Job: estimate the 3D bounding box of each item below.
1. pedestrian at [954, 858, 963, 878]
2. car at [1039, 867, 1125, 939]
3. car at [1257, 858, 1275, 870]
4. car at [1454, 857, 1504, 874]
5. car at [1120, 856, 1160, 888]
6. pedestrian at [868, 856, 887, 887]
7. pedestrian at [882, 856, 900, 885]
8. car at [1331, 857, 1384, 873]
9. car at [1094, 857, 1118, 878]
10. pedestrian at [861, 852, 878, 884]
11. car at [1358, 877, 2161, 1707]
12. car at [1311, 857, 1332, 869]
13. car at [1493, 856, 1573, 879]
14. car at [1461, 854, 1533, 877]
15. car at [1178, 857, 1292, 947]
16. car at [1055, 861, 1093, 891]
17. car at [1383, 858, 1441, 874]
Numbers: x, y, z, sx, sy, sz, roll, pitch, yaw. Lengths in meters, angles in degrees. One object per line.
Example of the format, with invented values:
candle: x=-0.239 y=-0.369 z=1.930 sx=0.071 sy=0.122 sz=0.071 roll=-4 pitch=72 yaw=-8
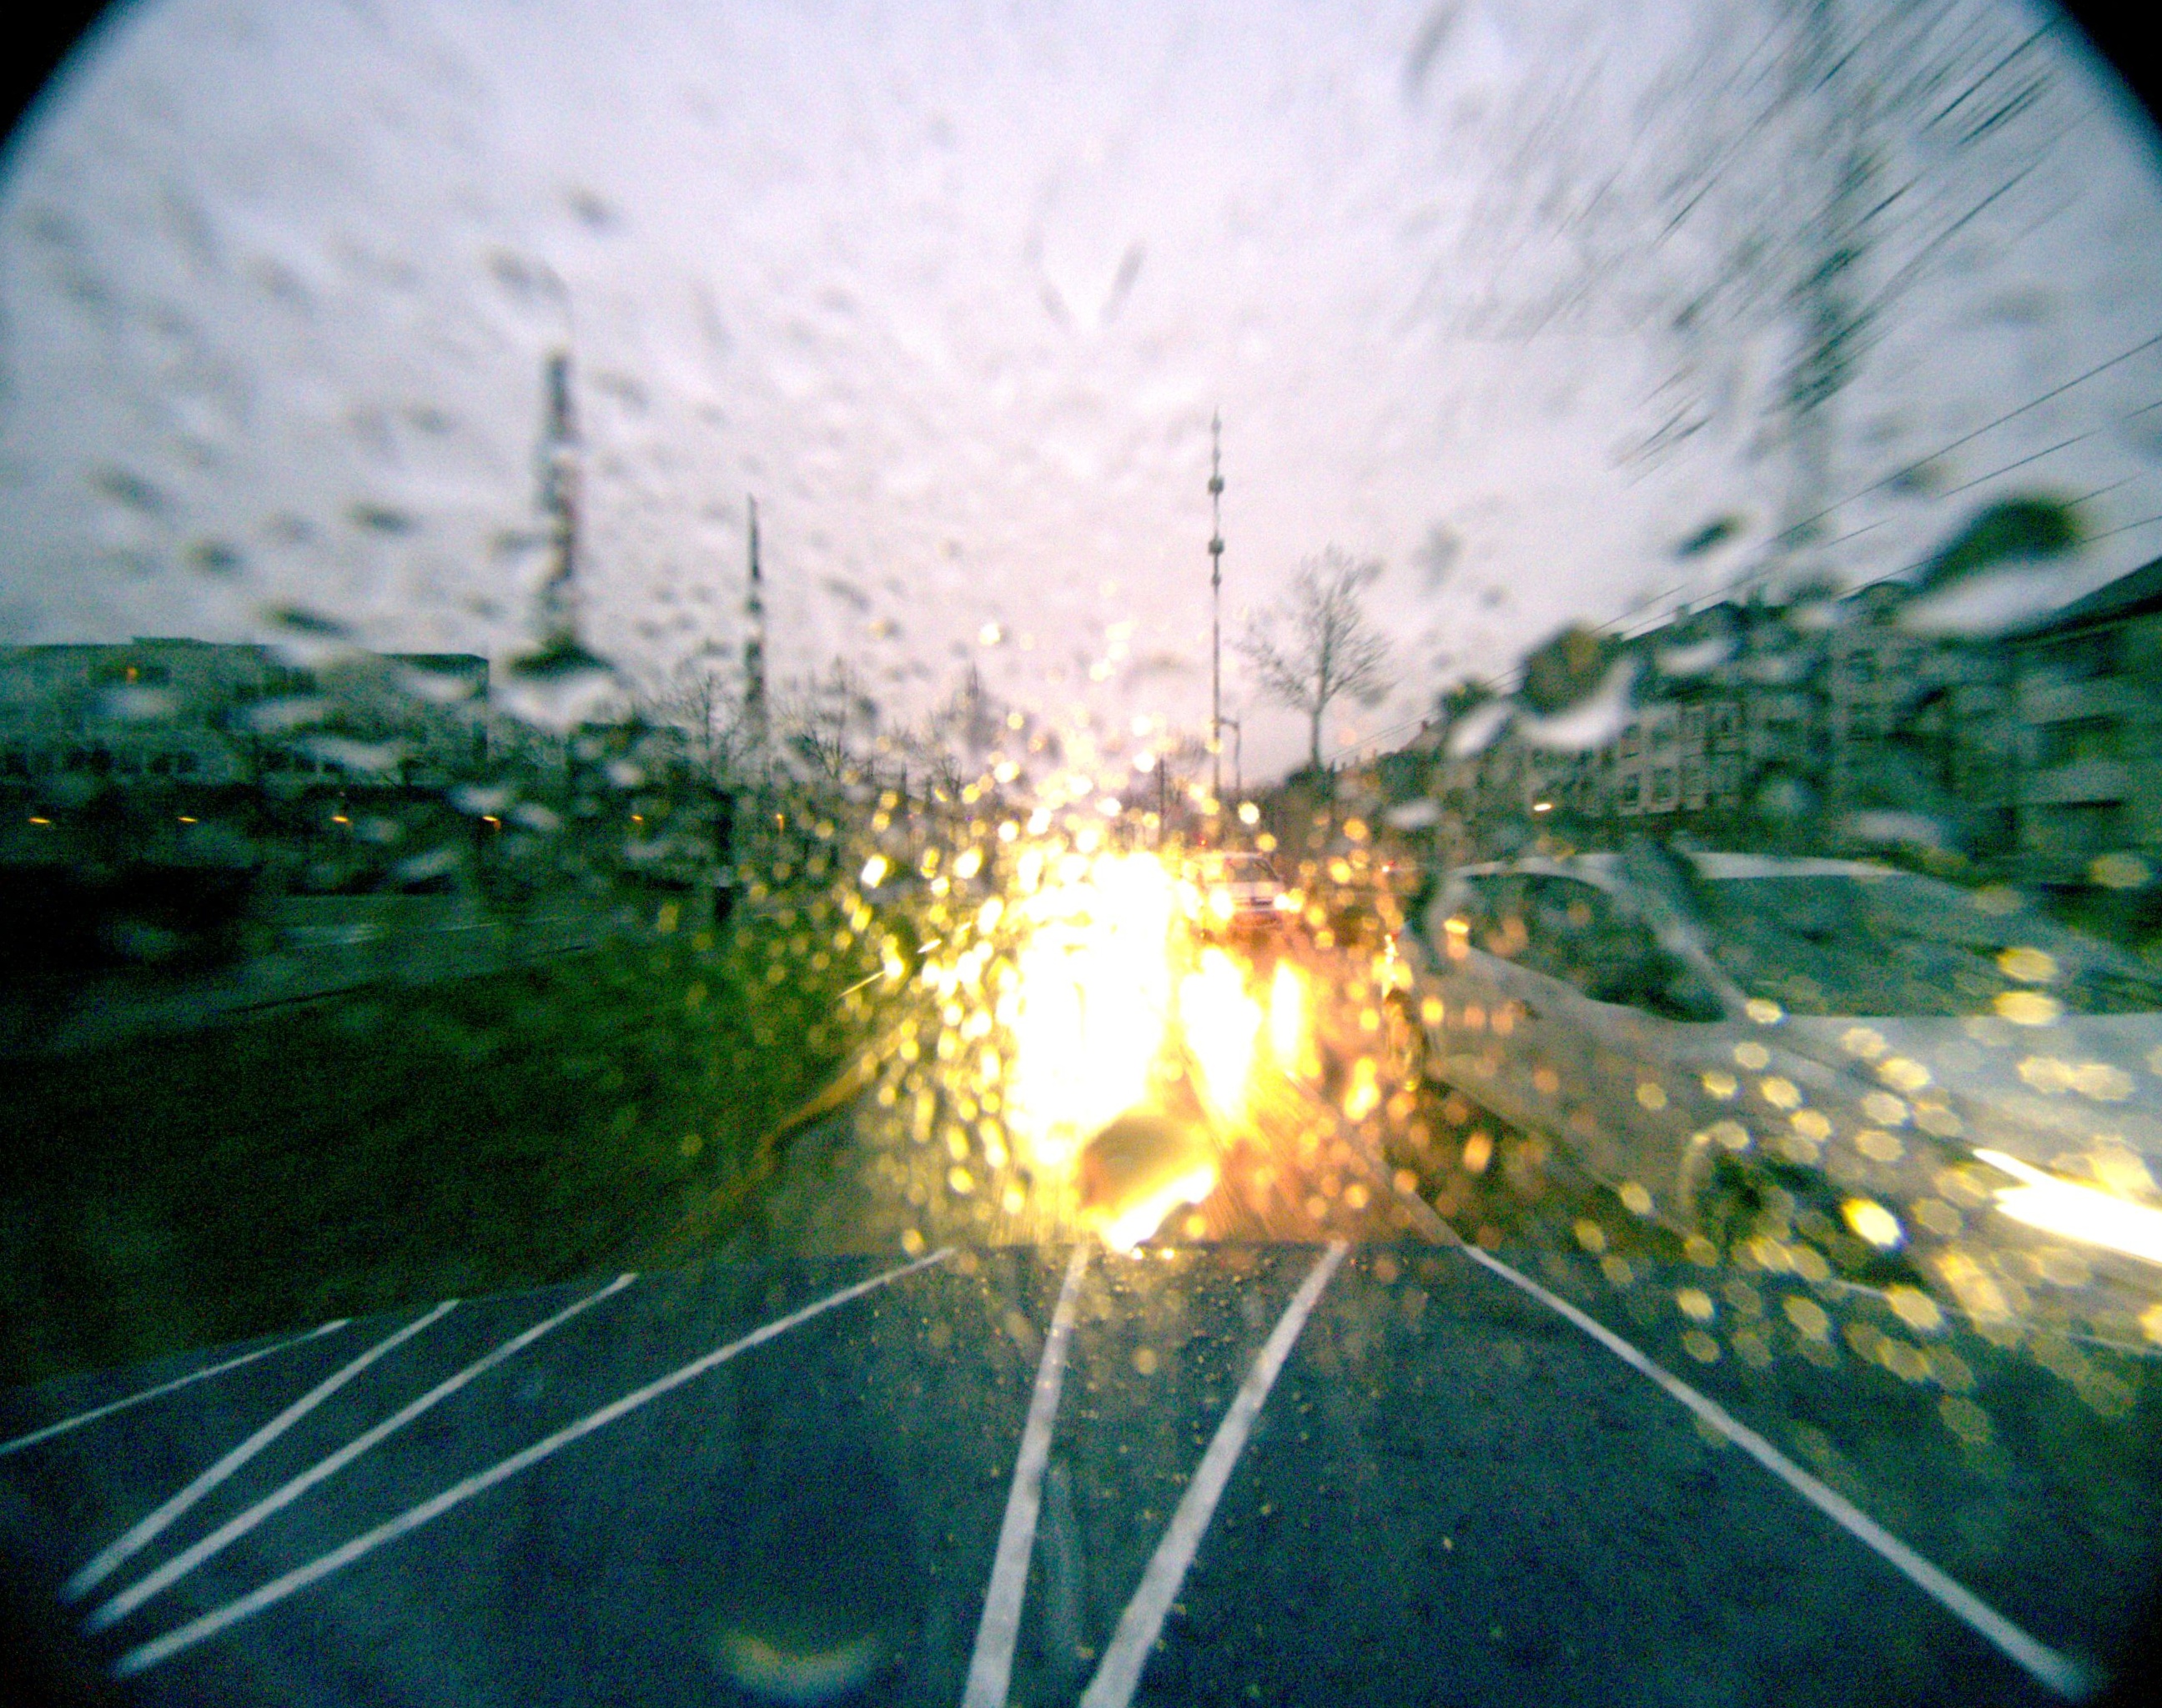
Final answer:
pedestrian: x=-10.540 y=1.207 z=65.237 sx=0.669 sy=1.646 sz=0.994 roll=0 pitch=1 yaw=-5
car: x=0.025 y=1.009 z=17.063 sx=1.669 sy=1.325 sz=3.787 roll=-2 pitch=0 yaw=0
car: x=25.670 y=1.349 z=105.588 sx=1.549 sy=1.495 sz=3.784 roll=-2 pitch=0 yaw=1
car: x=28.605 y=0.815 z=54.669 sx=2.912 sy=0.984 sz=1.798 roll=-4 pitch=1 yaw=35
car: x=2.949 y=0.873 z=38.491 sx=1.905 sy=1.475 sz=3.656 roll=-2 pitch=0 yaw=3
pedestrian: x=-10.759 y=0.905 z=40.156 sx=0.673 sy=1.615 sz=0.615 roll=-2 pitch=1 yaw=16
pedestrian: x=-10.509 y=0.915 z=42.073 sx=0.673 sy=1.603 sz=0.615 roll=-2 pitch=0 yaw=14
car: x=27.719 y=1.136 z=76.319 sx=4.651 sy=1.423 sz=1.697 roll=-2 pitch=0 yaw=37
car: x=1.686 y=0.905 z=51.986 sx=1.538 sy=1.347 sz=3.546 roll=-2 pitch=0 yaw=0
pedestrian: x=-11.794 y=0.776 z=42.376 sx=0.673 sy=1.767 sz=0.615 roll=-2 pitch=1 yaw=14
car: x=2.718 y=0.917 z=3.046 sx=1.693 sy=1.465 sz=4.001 roll=-2 pitch=0 yaw=0
car: x=29.597 y=1.086 z=93.577 sx=1.468 sy=1.332 sz=3.911 roll=-2 pitch=0 yaw=3
car: x=28.658 y=0.851 z=48.198 sx=4.095 sy=1.154 sz=1.715 roll=-4 pitch=1 yaw=39
car: x=28.193 y=0.789 z=51.560 sx=4.034 sy=1.223 sz=1.351 roll=-4 pitch=1 yaw=37
car: x=2.956 y=0.847 z=15.297 sx=1.638 sy=1.510 sz=3.908 roll=-2 pitch=0 yaw=3
car: x=-0.343 y=1.061 z=37.986 sx=1.737 sy=1.311 sz=3.803 roll=-2 pitch=0 yaw=0
car: x=29.255 y=1.091 z=67.194 sx=4.254 sy=1.250 sz=1.837 roll=-2 pitch=0 yaw=41
